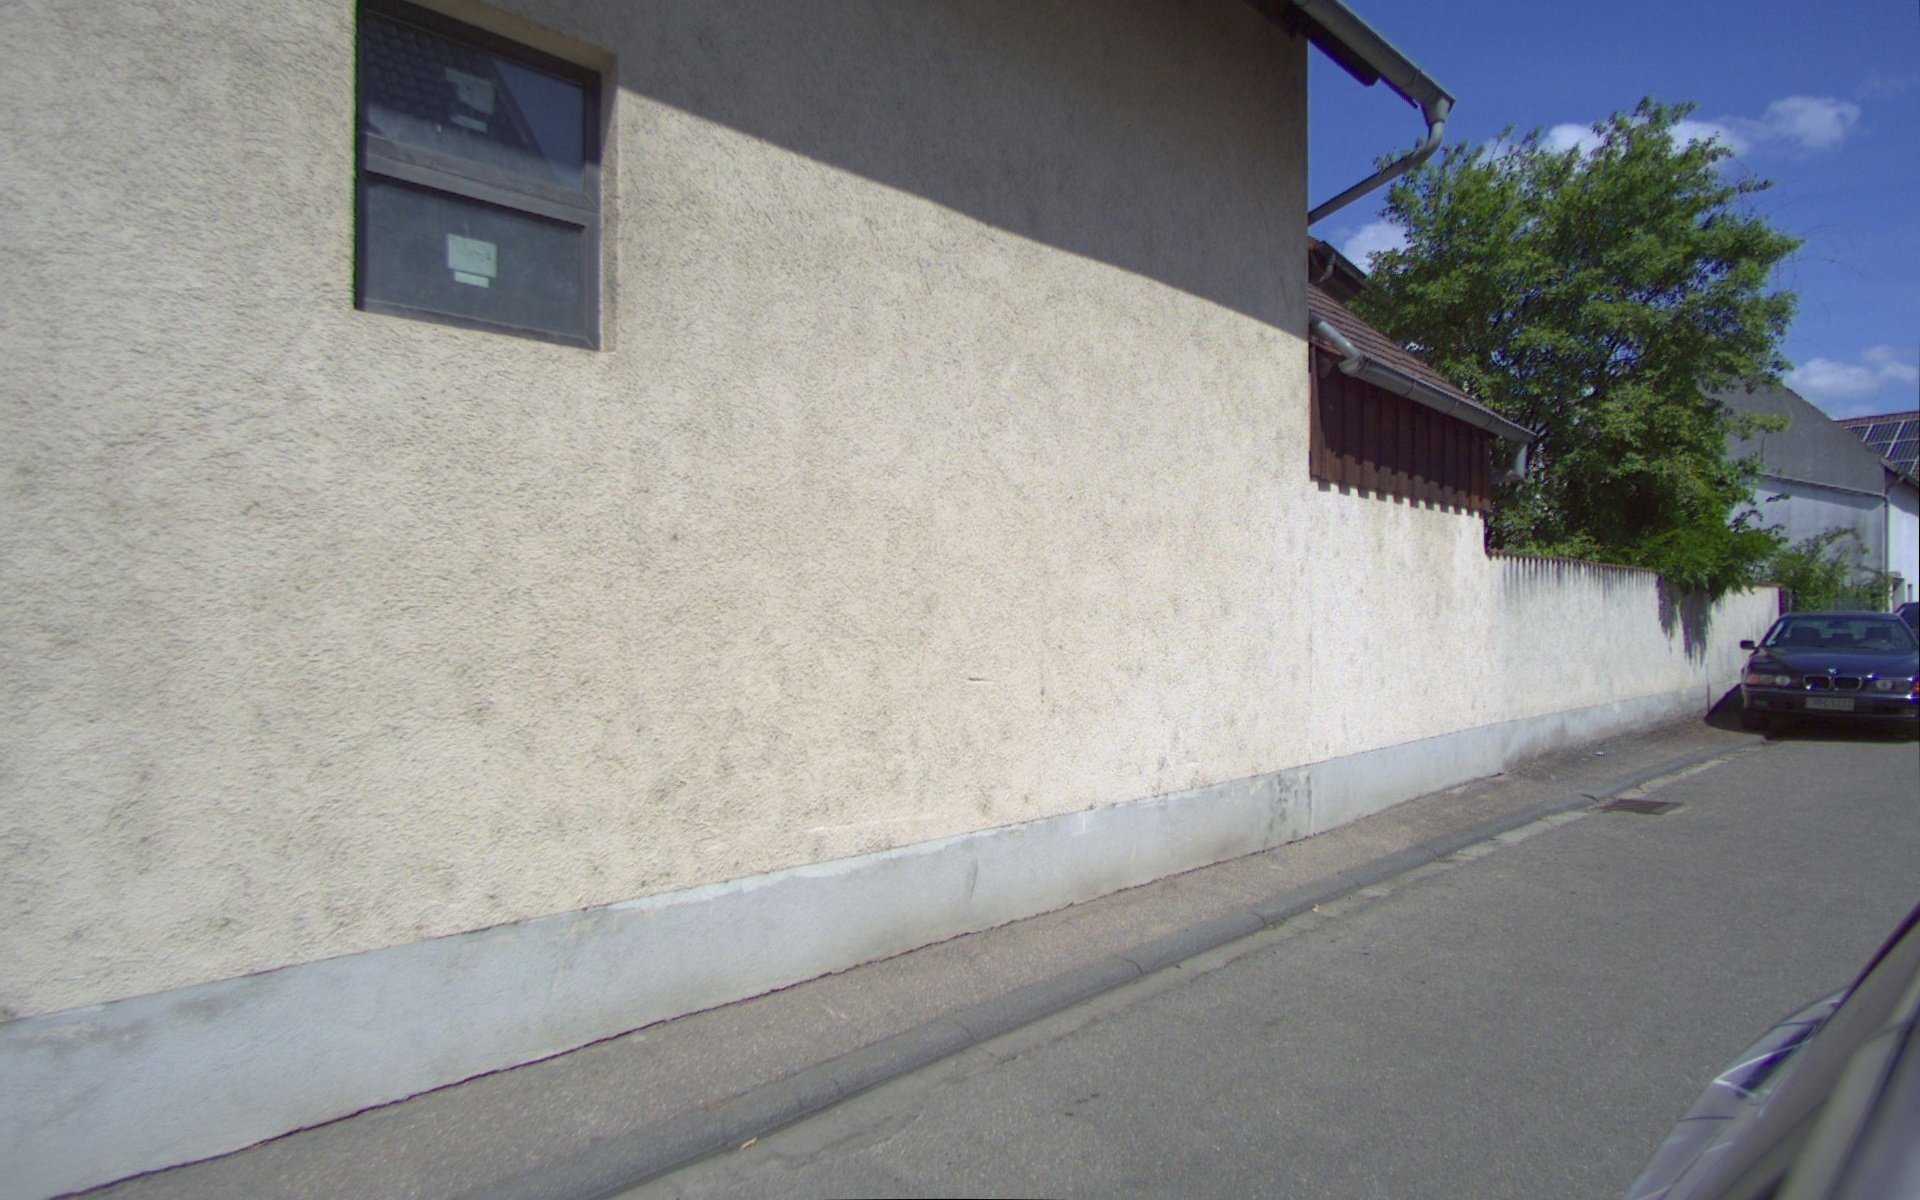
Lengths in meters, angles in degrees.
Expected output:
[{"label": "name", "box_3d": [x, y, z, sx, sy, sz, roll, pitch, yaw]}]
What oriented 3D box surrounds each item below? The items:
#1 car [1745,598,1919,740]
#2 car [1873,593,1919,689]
[{"label": "car", "box_3d": [11.137, 0.737, 12.654, 1.779, 1.498, 3.938, 0, 0, 43]}, {"label": "car", "box_3d": [17.979, 0.665, 18.183, 3.930, 1.630, 1.783, -1, -2, -41]}]
